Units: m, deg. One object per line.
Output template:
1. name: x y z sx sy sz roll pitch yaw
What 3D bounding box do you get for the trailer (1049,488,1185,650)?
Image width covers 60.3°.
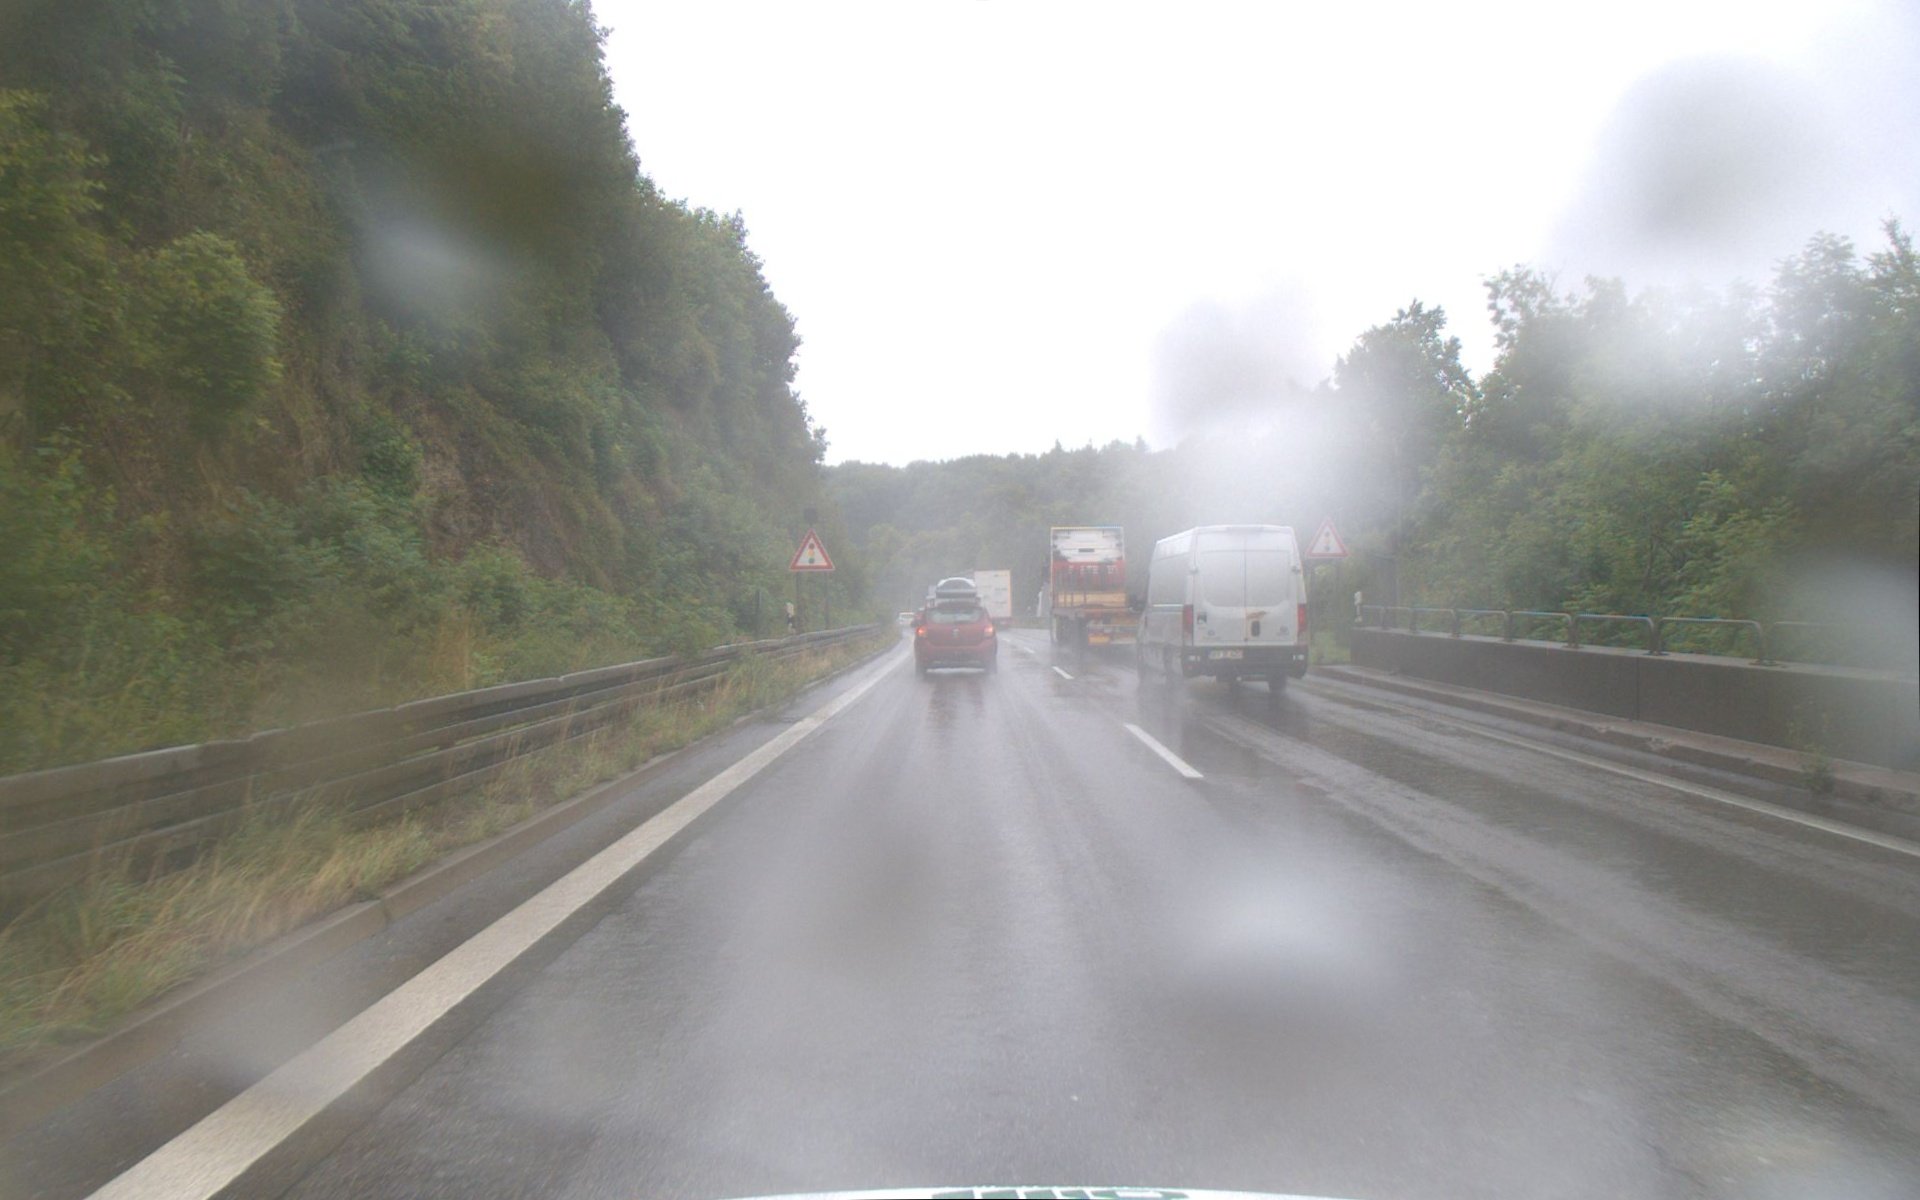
1. trailer: 4.311 -0.792 48.330 3.151 4.069 13.527 0 0 2

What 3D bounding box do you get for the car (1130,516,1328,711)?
1. car: 4.375 0.190 28.233 2.161 2.843 7.382 1 0 0

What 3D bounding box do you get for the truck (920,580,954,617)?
1. truck: -2.149 -0.147 151.366 3.000 3.369 8.068 0 0 -1

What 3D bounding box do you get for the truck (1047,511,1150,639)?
1. truck: 4.534 -0.786 55.088 3.153 4.047 5.440 0 0 2

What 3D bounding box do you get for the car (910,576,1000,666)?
1. car: -0.082 0.411 34.884 1.722 1.714 4.000 -2 0 1

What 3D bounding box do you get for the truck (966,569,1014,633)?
1. truck: 2.006 0.075 114.625 2.633 4.165 9.310 -2 0 -2
